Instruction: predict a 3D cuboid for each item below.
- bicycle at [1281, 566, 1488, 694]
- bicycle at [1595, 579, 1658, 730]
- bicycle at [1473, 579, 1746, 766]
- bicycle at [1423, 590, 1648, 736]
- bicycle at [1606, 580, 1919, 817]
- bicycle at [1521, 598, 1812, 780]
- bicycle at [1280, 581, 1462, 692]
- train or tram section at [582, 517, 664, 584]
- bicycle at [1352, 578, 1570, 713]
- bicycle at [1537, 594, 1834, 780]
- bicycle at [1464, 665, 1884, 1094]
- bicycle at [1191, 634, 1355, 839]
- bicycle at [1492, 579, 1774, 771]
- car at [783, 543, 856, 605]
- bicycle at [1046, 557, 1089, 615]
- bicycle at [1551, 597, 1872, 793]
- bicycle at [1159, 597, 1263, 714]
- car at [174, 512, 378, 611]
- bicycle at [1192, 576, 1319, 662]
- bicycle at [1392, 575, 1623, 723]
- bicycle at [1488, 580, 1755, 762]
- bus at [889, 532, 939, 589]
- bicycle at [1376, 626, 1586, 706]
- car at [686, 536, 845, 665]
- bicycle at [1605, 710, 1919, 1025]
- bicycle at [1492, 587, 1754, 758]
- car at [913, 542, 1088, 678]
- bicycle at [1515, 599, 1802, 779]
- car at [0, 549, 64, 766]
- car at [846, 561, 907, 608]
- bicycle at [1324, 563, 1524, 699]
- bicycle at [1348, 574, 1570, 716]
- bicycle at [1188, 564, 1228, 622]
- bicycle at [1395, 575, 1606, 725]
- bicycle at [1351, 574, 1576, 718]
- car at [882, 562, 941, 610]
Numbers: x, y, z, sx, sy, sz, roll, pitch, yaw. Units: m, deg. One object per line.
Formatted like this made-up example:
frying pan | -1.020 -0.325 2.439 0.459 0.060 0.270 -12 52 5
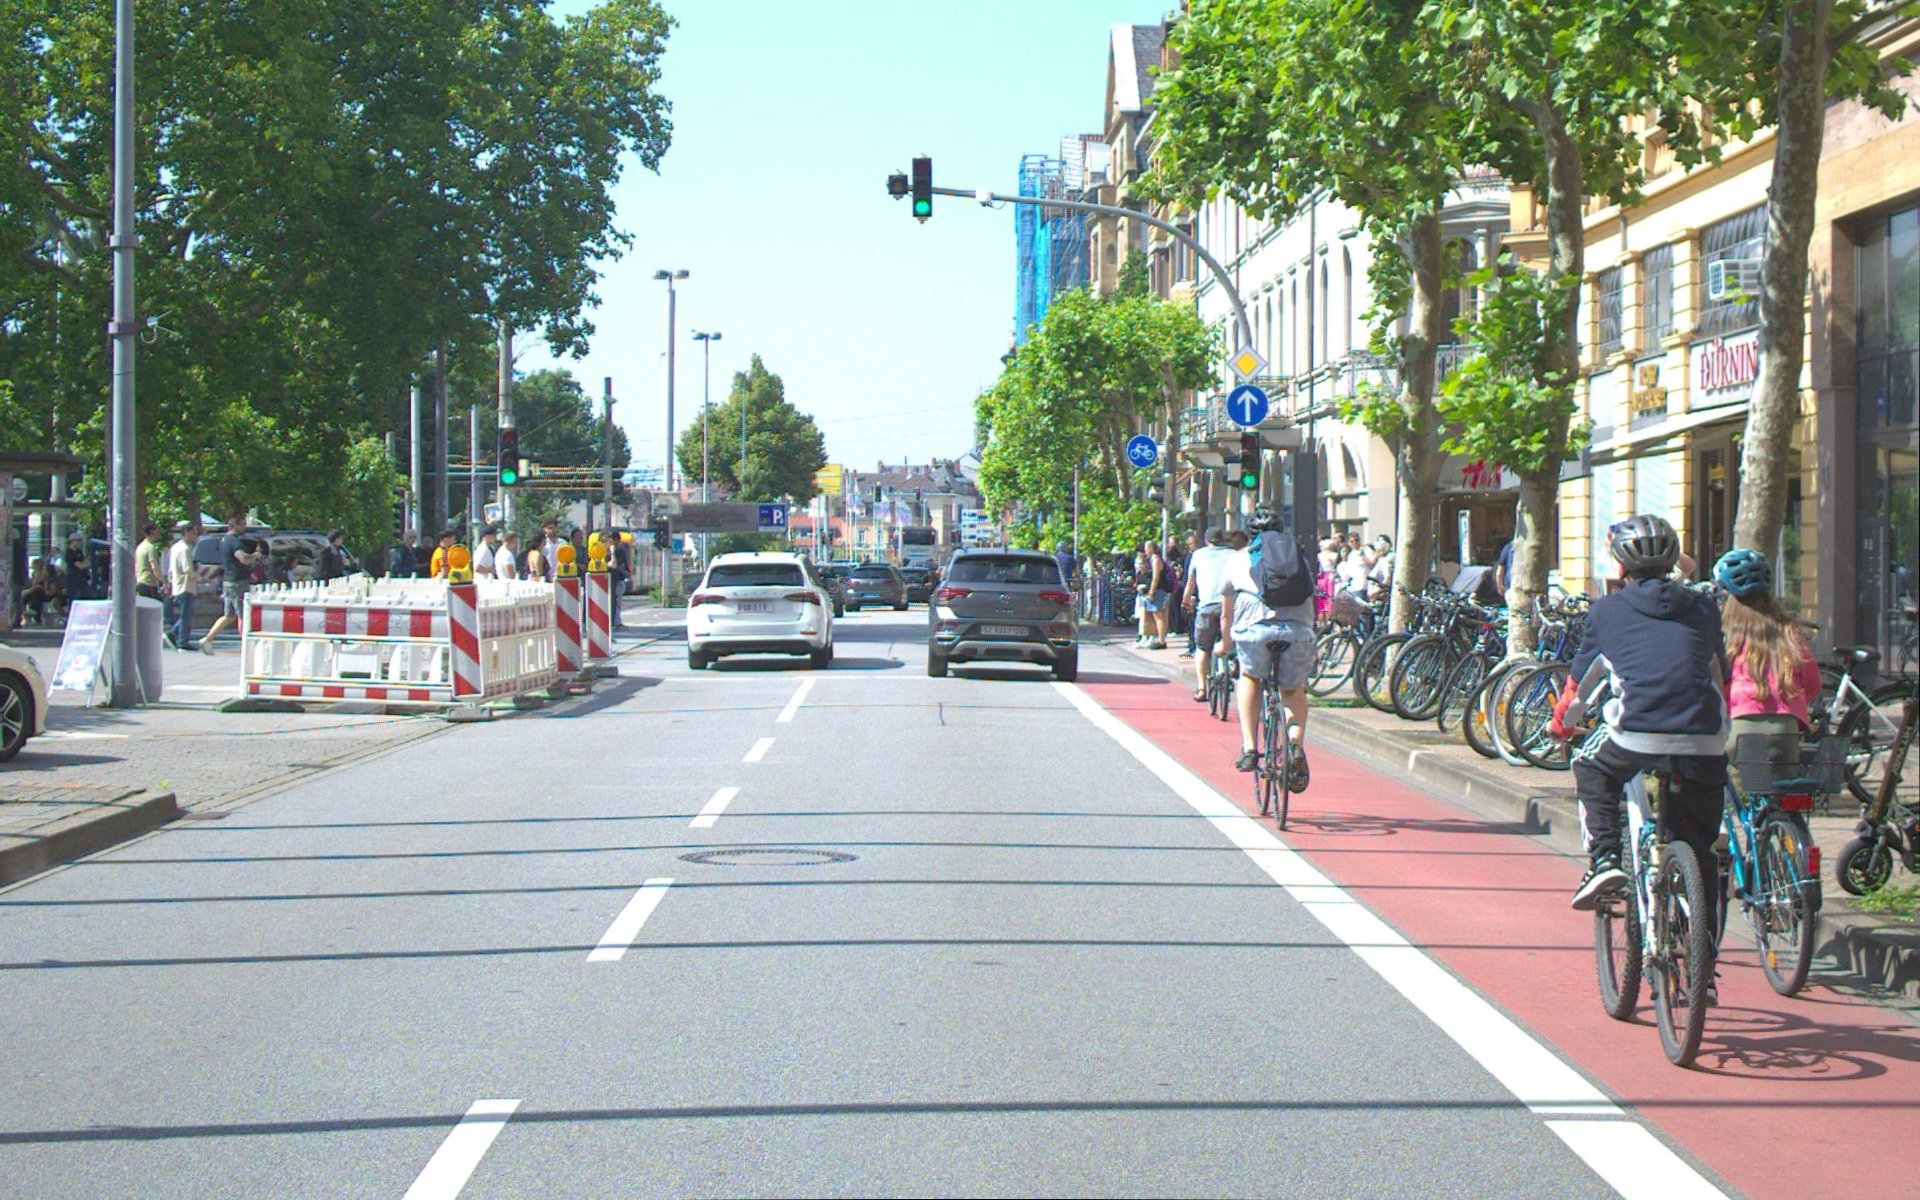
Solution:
bicycle | 4.251 0.295 34.441 1.932 1.253 0.705 0 1 -20
bicycle | 5.449 0.428 28.115 0.473 1.184 1.654 1 1 11
bicycle | 4.349 0.480 23.081 1.728 1.213 0.477 1 1 2
bicycle | 4.471 0.484 26.782 1.649 1.091 0.607 1 1 2
bicycle | 4.577 0.529 18.829 1.931 1.244 0.736 1 1 2
bicycle | 4.427 0.552 21.577 1.728 1.105 0.402 1 1 2
bicycle | 4.214 0.373 35.322 1.781 1.118 0.563 0 1 -3
train or tram section | -17.448 -2.563 178.634 2.613 3.337 11.001 1 1 3
bicycle | 4.453 0.402 30.660 1.844 1.160 0.659 1 1 2
bicycle | 4.458 0.529 21.163 1.728 1.105 0.402 1 1 2
bicycle | 2.163 0.808 10.715 0.698 1.123 2.082 2 1 -4
bicycle | 1.688 0.715 18.805 0.630 0.976 2.089 1 1 -2
bicycle | 4.367 0.481 22.356 1.728 1.213 0.477 1 1 2
car | -3.655 -0.697 90.067 1.845 1.554 4.000 1 1 -2
bicycle | 1.872 -0.255 60.090 0.647 0.994 2.031 1 1 -1
bicycle | 4.420 0.551 20.310 1.728 1.105 0.736 1 1 2
bicycle | 2.320 0.498 32.043 0.774 1.002 2.329 0 1 -1
car | -13.873 -0.763 69.998 1.861 1.948 4.756 1 0 20
bicycle | 3.884 0.238 45.277 0.600 1.078 1.839 -3 2 -35
bicycle | 4.565 0.403 28.718 1.844 1.197 0.474 1 1 2
bicycle | 4.527 0.480 23.573 1.728 1.213 0.477 1 1 2
bus | -3.031 -2.523 223.080 2.994 3.582 11.745 1 0 -2
bicycle | 4.843 0.606 31.948 1.843 0.713 0.659 0 1 -21
car | -2.453 -0.032 44.140 1.845 1.554 4.000 0 1 -1
bicycle | 2.847 0.898 12.124 0.600 0.922 2.088 2 0 -4
bicycle | 4.629 0.502 24.060 1.728 1.158 0.477 1 1 2
car | 0.441 0.080 41.616 1.845 1.554 4.001 0 1 -3
bicycle | 4.456 0.562 21.997 1.728 1.105 0.477 1 1 2
car | -8.441 0.367 23.159 1.894 1.536 4.854 2 0 27
car | -2.626 -0.509 107.716 1.845 1.409 4.000 1 1 -2
bicycle | 4.568 0.300 33.845 1.820 1.304 0.689 0 1 -21
bicycle | 4.344 0.386 30.028 1.844 1.197 0.608 1 1 2
bicycle | 4.943 -0.137 68.417 0.400 1.110 1.424 0 2 20
bicycle | 4.443 0.406 28.304 1.649 1.197 0.474 1 1 2
bicycle | 4.315 0.386 29.522 1.844 1.197 0.545 1 1 2
car | -1.824 -0.526 127.637 1.845 1.662 4.001 2 1 -5
